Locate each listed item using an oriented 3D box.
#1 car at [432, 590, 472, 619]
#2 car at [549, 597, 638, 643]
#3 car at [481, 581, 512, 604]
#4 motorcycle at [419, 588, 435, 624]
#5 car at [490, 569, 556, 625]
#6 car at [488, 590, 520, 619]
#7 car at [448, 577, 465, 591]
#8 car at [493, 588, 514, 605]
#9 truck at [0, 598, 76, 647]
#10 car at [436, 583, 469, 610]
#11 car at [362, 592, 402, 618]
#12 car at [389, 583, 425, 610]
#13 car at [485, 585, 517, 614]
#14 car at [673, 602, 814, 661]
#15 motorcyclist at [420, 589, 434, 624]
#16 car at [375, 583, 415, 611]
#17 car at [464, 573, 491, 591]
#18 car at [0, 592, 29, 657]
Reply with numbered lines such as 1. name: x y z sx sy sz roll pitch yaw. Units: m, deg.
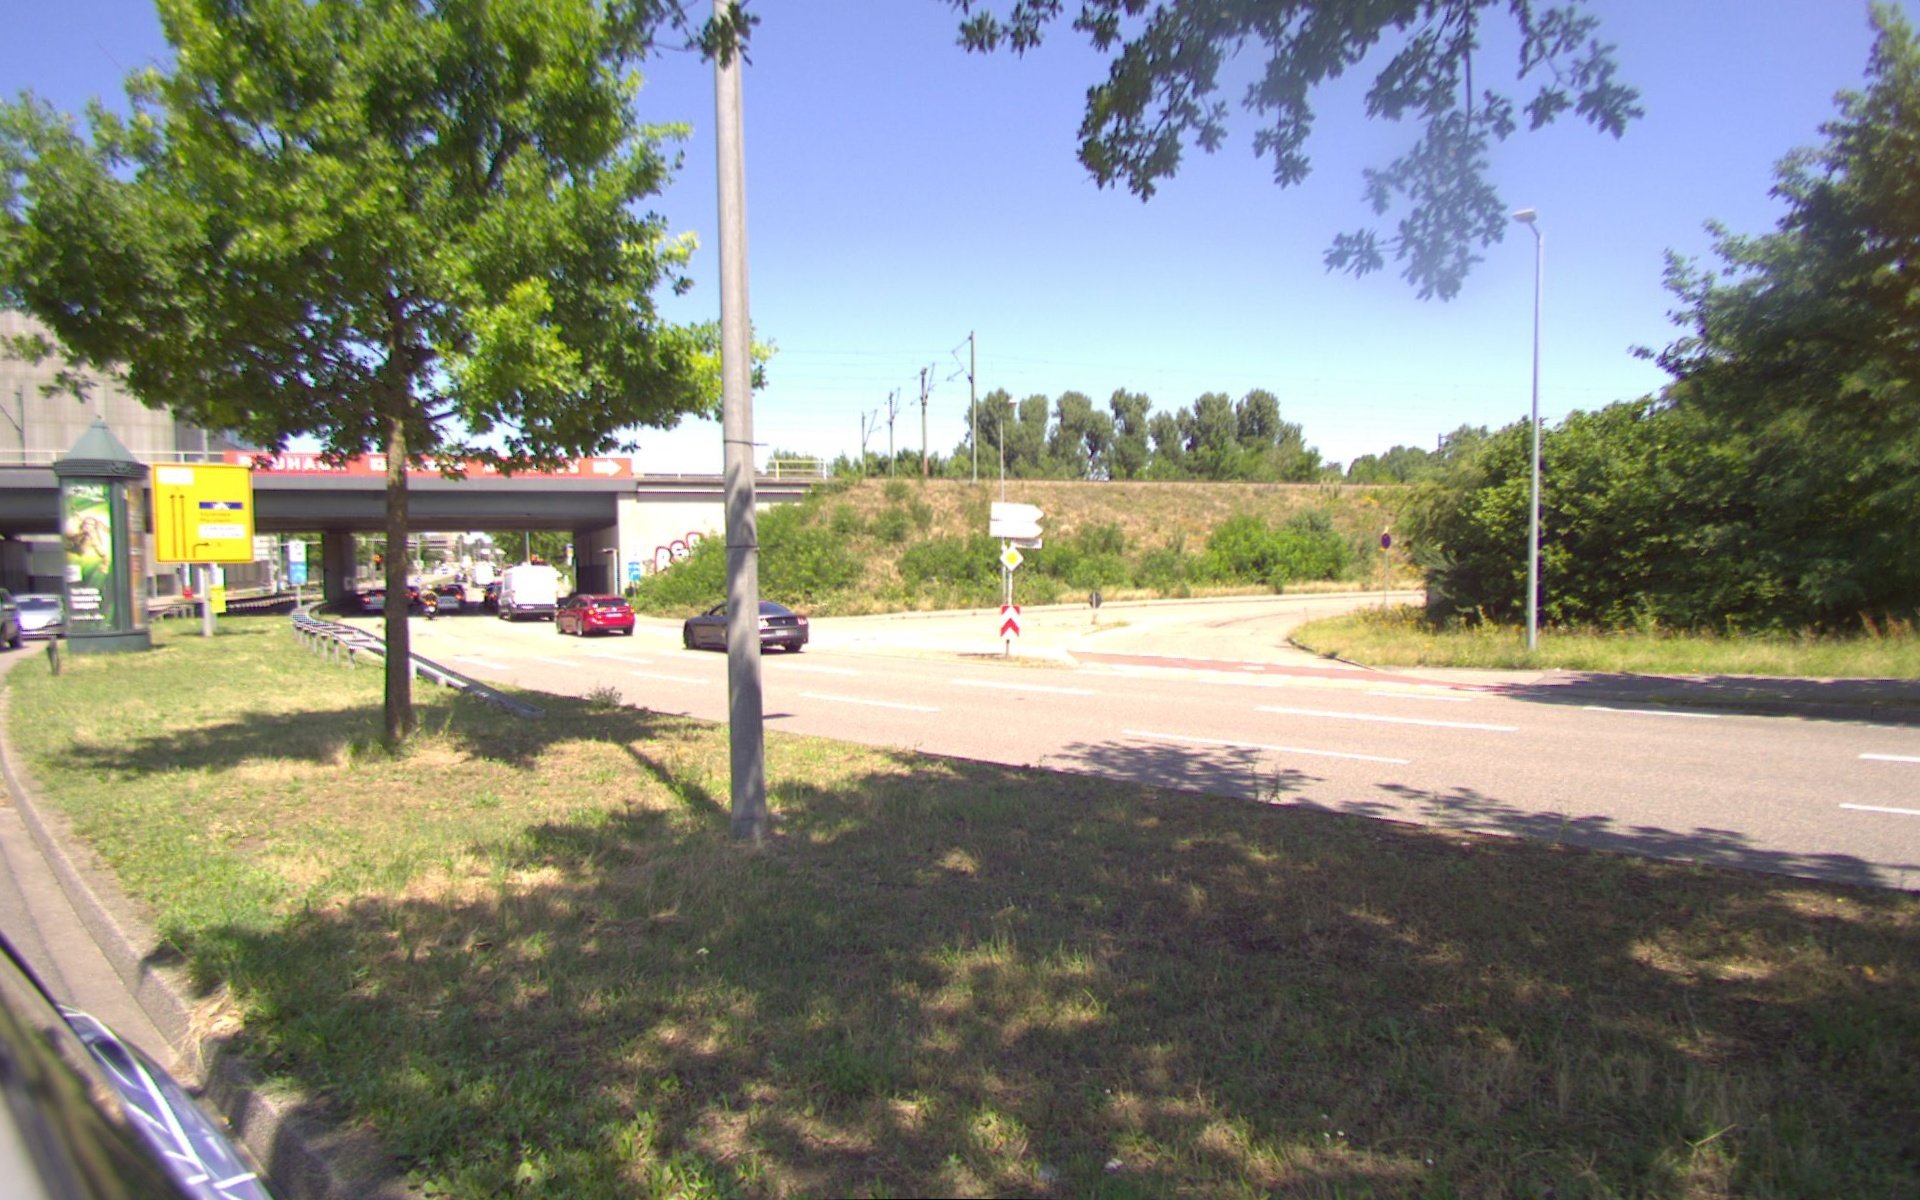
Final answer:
1. car: -28.321 0.263 56.556 1.611 1.579 4.086 0 0 -21
2. car: -13.113 0.659 36.062 1.806 1.448 4.537 -1 1 -35
3. car: -31.843 -0.508 69.601 1.548 1.514 3.418 -1 1 -19
4. motorcycle: -25.512 0.278 48.409 0.589 1.691 2.433 -1 1 -30
5. car: -20.996 -0.091 48.472 2.065 2.519 5.826 0 -1 -31
6. car: -26.014 0.247 57.834 1.493 1.553 3.692 -1 1 -22
7. car: -73.576 -2.289 147.978 1.965 2.029 4.013 -1 1 -24
8. car: -34.377 -0.287 76.214 1.166 1.257 2.701 -1 1 -19
9. truck: -31.318 0.717 34.257 1.704 1.513 4.010 -1 1 -36
10. car: -37.463 -0.277 74.819 1.875 1.874 4.013 -1 1 -22
11. car: -32.163 0.252 56.416 1.611 1.413 4.236 0 0 -25
12. car: -40.463 -0.270 74.082 1.875 1.874 4.013 -1 1 -22
13. car: -29.027 -0.036 64.041 1.747 1.680 4.028 -2 1 -25
14. car: -5.793 0.753 26.666 1.786 1.343 4.578 -1 1 -38
15. motorcyclist: -25.481 0.299 48.365 0.579 1.638 0.564 -1 1 -29
16. car: -38.307 -0.239 68.723 1.875 1.874 4.013 -1 1 -22
17. car: -59.196 -2.223 124.095 1.967 2.118 6.400 -1 1 -34
18. car: -26.781 0.659 27.275 1.816 1.708 3.710 -1 1 -32
